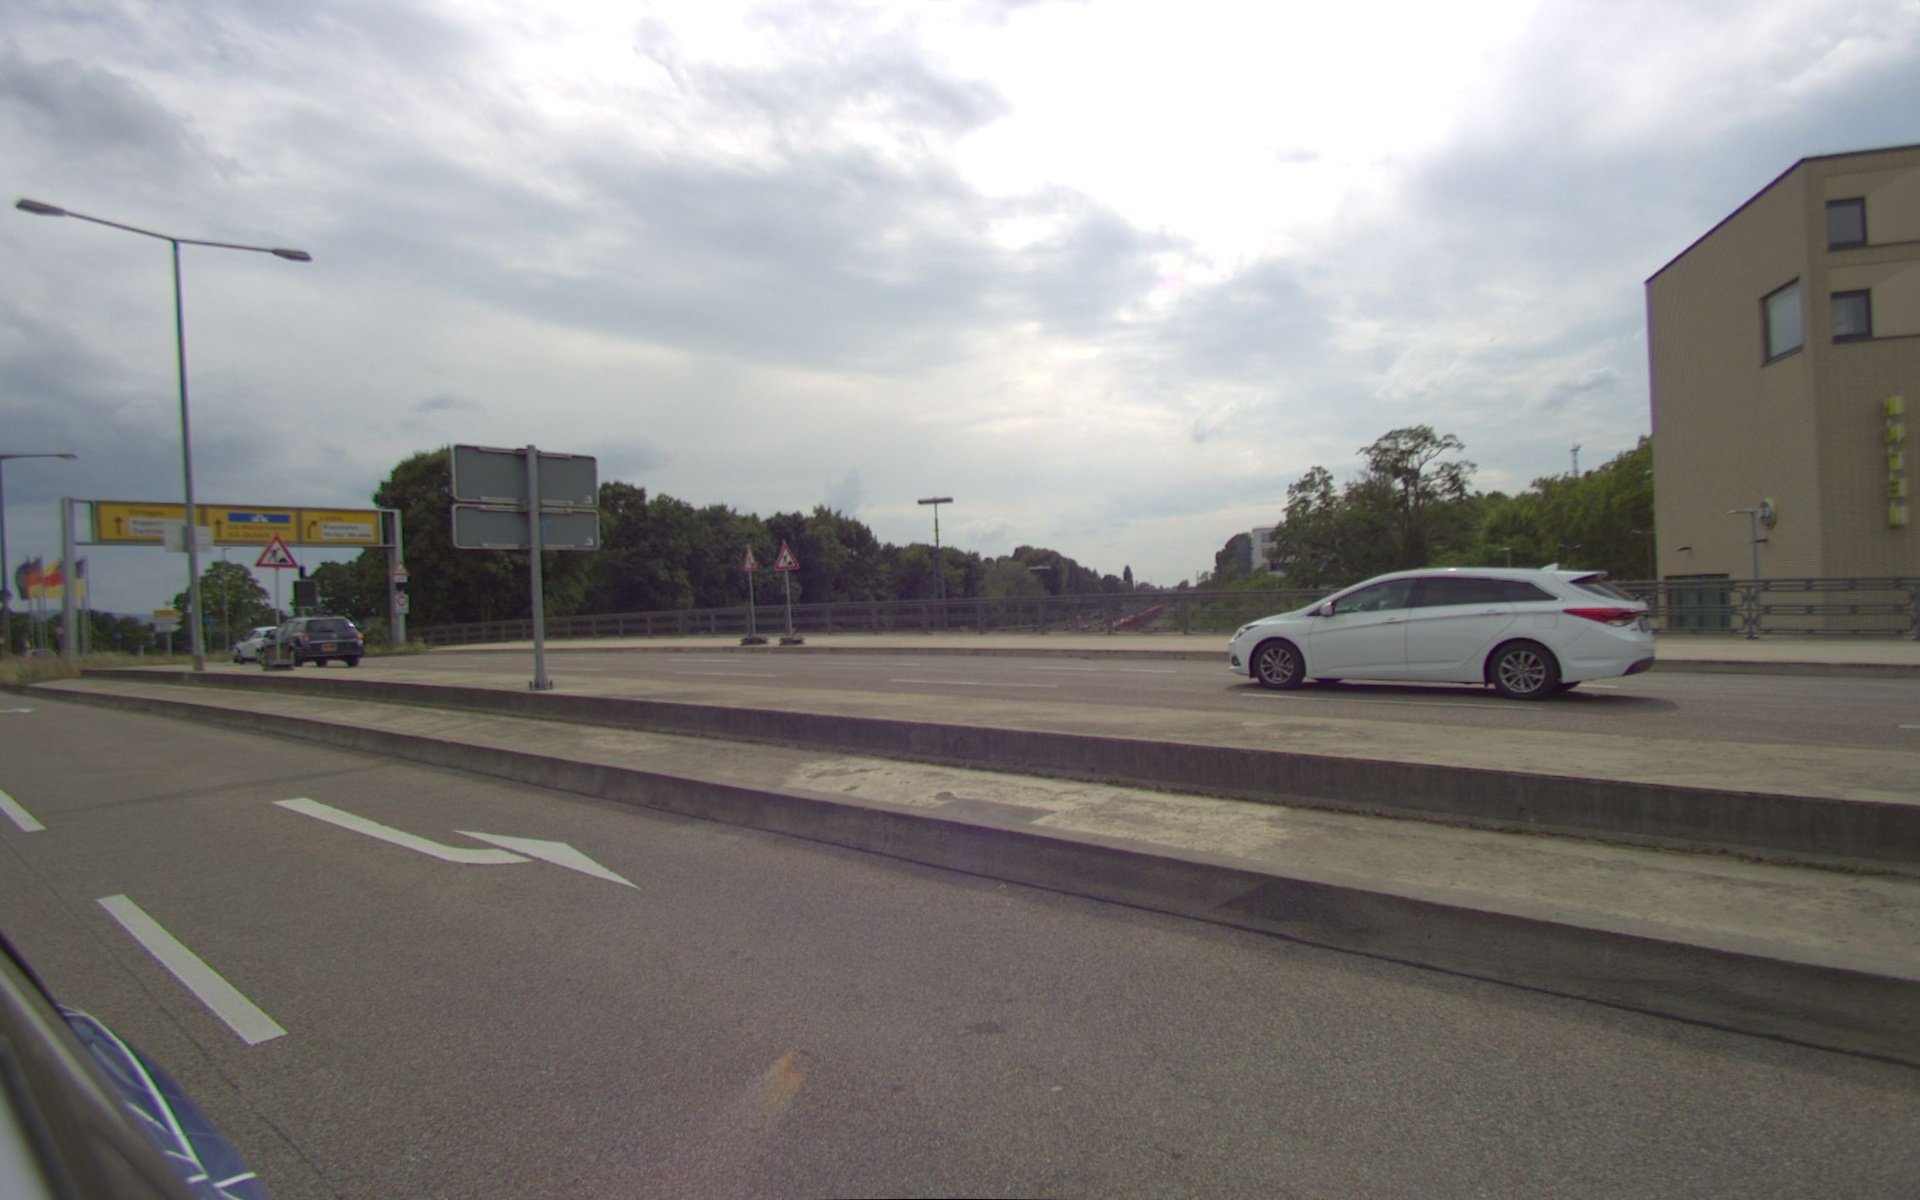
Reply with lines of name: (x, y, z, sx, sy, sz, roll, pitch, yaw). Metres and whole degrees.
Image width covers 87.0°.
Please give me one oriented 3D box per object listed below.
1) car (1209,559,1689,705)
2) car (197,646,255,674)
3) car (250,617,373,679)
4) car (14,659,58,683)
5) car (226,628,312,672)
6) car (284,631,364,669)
car: (5.697, 0.396, 12.235, 4.879, 1.426, 1.899, -3, -2, 41)
car: (-44.764, 3.621, 61.712, 4.450, 1.543, 1.867, -3, -1, 41)
car: (-19.390, 1.417, 30.180, 4.582, 1.652, 1.867, -3, -1, 41)
car: (-65.779, 5.052, 72.008, 3.912, 1.543, 1.706, -3, 0, 39)
car: (-28.696, 2.074, 42.010, 4.214, 1.652, 1.868, -3, -1, 40)
car: (-29.854, 2.340, 47.476, 4.542, 1.652, 1.868, -3, -1, 40)
